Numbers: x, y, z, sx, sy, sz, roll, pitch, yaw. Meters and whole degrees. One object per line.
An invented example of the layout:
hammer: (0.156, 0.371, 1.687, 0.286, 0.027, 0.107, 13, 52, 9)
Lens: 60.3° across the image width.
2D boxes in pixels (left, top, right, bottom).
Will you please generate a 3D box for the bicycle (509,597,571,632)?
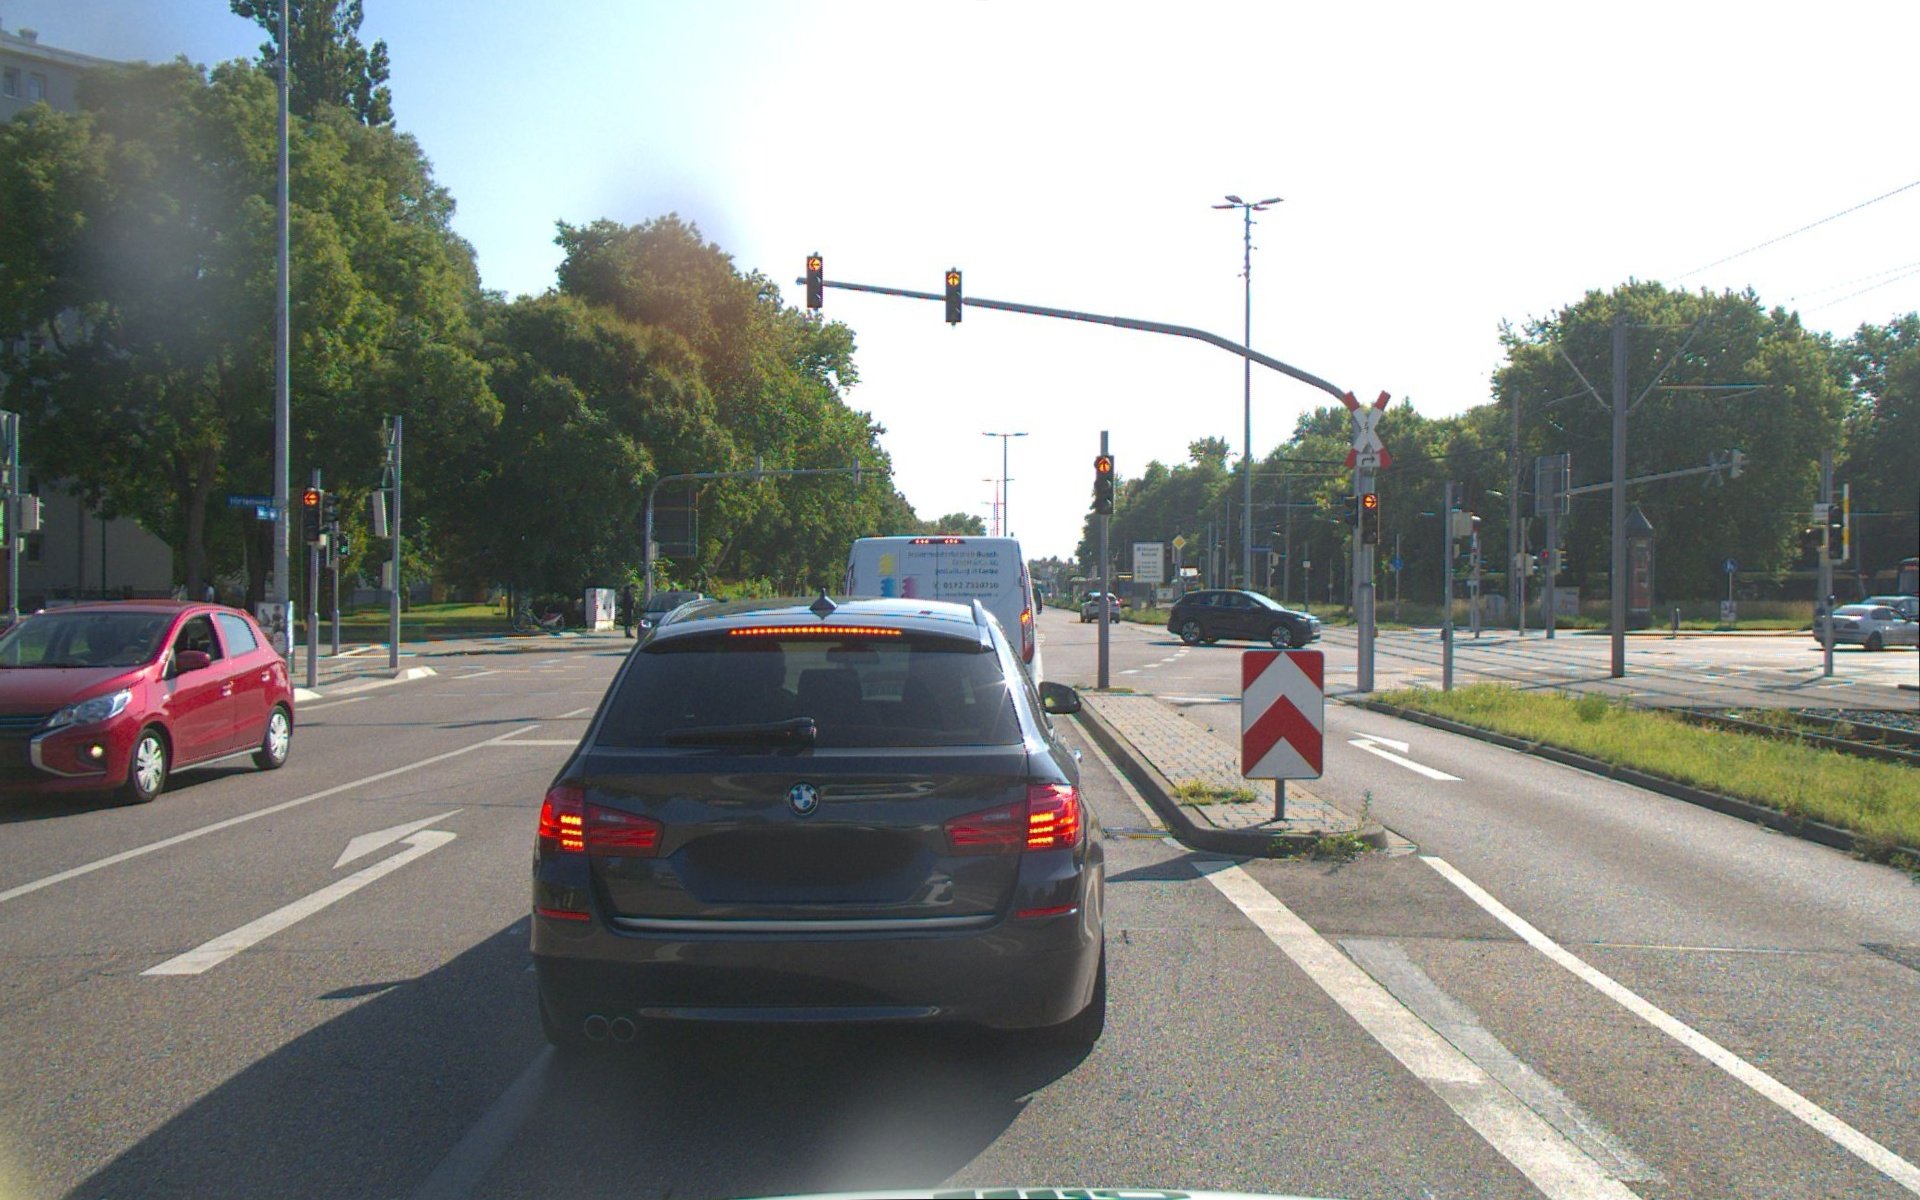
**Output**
bicycle: (-13.812, 0.489, 54.426, 1.870, 1.138, 0.632, 0, 0, -1)

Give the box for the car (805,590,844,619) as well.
car: (-7.380, 0.235, 90.522, 1.667, 1.490, 4.370, -1, 0, 1)

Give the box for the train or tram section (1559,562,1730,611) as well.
train or tram section: (53.280, -1.034, 128.966, 11.984, 3.642, 3.043, 0, 0, 36)

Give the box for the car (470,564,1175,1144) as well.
car: (-0.384, 0.662, 6.421, 1.864, 1.532, 4.064, 0, 0, -1)

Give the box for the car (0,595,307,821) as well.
car: (-6.709, 0.743, 13.123, 1.660, 1.524, 3.675, -1, 0, -2)

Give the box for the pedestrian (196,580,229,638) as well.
pedestrian: (-22.774, 0.278, 50.416, 0.610, 1.743, 0.705, 0, 1, 11)

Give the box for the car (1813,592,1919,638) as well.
car: (32.830, 0.508, 58.936, 4.792, 1.590, 2.025, 0, 0, -29)

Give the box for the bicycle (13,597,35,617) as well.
bicycle: (-36.606, 0.266, 64.684, 0.578, 0.721, 2.211, 0, 1, -35)

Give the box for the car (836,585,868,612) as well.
car: (-6.775, -0.108, 104.186, 1.709, 1.589, 4.000, -2, 0, 0)

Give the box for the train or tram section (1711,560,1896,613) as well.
train or tram section: (60.923, -0.947, 119.876, 3.017, 3.642, 12.087, 0, 0, -34)

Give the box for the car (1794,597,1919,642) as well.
car: (29.021, 0.591, 53.005, 4.343, 1.377, 1.982, 0, 0, -28)

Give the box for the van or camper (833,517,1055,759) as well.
van or camper: (-0.111, 0.323, 16.922, 1.952, 2.133, 4.599, 0, 0, 1)

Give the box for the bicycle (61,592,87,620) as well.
bicycle: (-35.124, 0.245, 65.550, 0.606, 1.085, 1.892, 1, -2, -37)

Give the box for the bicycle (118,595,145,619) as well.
bicycle: (-33.475, 0.267, 66.802, 0.663, 0.936, 2.377, 0, 1, -35)

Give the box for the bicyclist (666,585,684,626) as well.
bicyclist: (-11.057, 0.198, 64.131, 0.595, 1.587, 0.603, 0, 0, 1)

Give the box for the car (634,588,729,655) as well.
car: (-7.109, 0.516, 42.554, 1.599, 1.587, 3.678, -2, 0, 3)

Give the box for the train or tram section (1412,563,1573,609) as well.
train or tram section: (43.519, -1.128, 135.476, 12.170, 3.642, 3.048, 0, 0, 31)

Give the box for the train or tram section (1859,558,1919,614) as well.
train or tram section: (63.740, -0.923, 108.476, 2.981, 3.642, 12.231, 0, 0, 0)

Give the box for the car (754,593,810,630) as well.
car: (-7.225, 0.458, 67.437, 1.742, 1.439, 4.245, 0, 0, 1)

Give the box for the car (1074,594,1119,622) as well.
car: (7.458, 0.408, 90.573, 1.758, 1.512, 3.895, 0, 0, -6)

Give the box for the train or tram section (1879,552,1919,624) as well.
train or tram section: (53.126, -0.607, 87.846, 11.721, 3.642, 3.015, 0, 0, -37)

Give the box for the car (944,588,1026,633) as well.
car: (0.793, 0.326, 54.579, 1.578, 1.408, 3.509, 0, 0, -20)

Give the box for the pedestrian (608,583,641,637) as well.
pedestrian: (-11.056, 0.322, 54.532, 0.798, 1.782, 0.932, 0, 0, 5)

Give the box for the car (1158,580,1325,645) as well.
car: (8.240, 0.340, 48.535, 4.524, 1.752, 1.645, 2, 1, 32)

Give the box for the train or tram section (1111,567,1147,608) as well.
train or tram section: (15.767, -1.083, 154.905, 2.738, 3.681, 12.960, 1, 0, 3)
